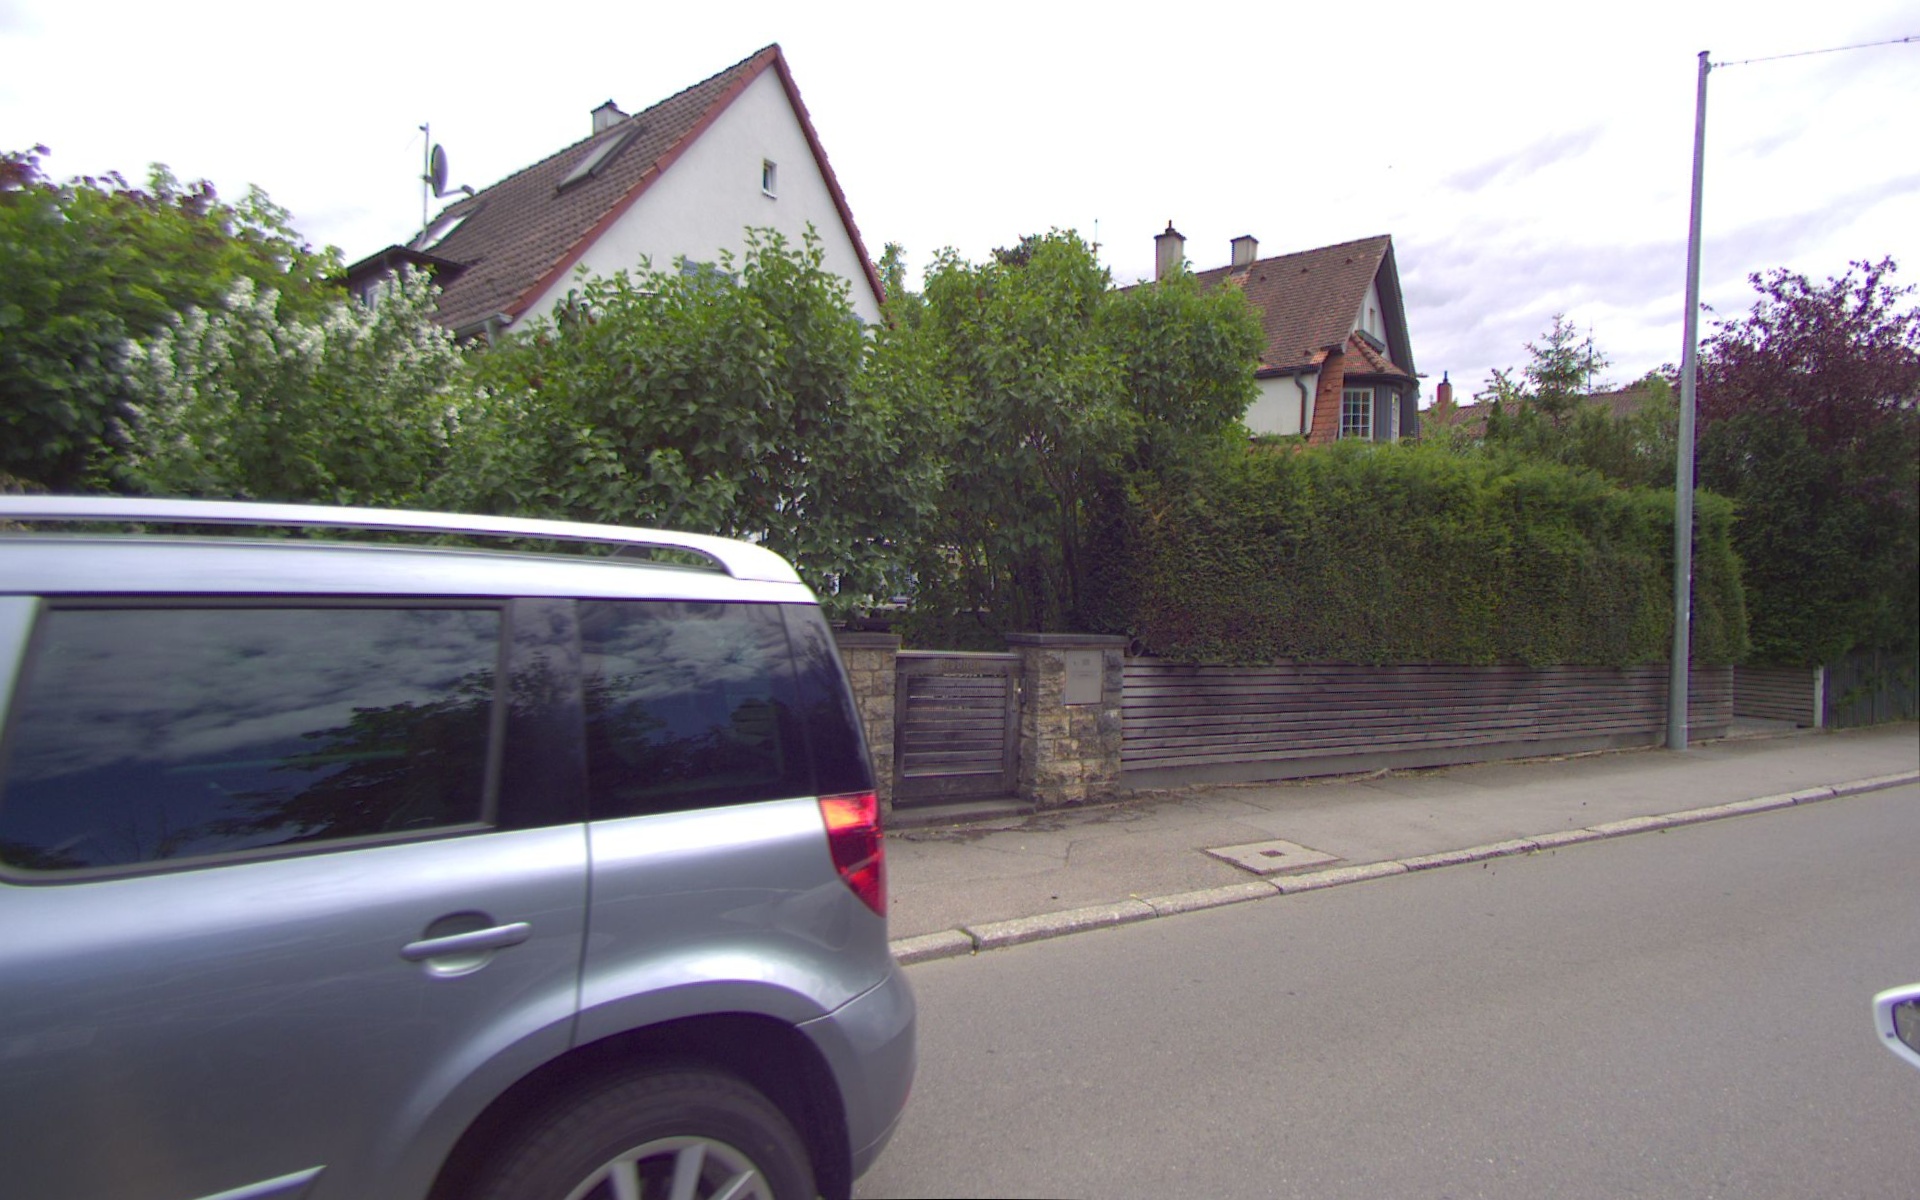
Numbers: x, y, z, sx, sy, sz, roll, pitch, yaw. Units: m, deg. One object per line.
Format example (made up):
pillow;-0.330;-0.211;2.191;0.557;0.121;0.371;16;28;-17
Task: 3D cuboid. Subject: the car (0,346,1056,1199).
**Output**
car;-1.989;0.542;1.837;4.094;1.677;1.830;2;-3;-33
